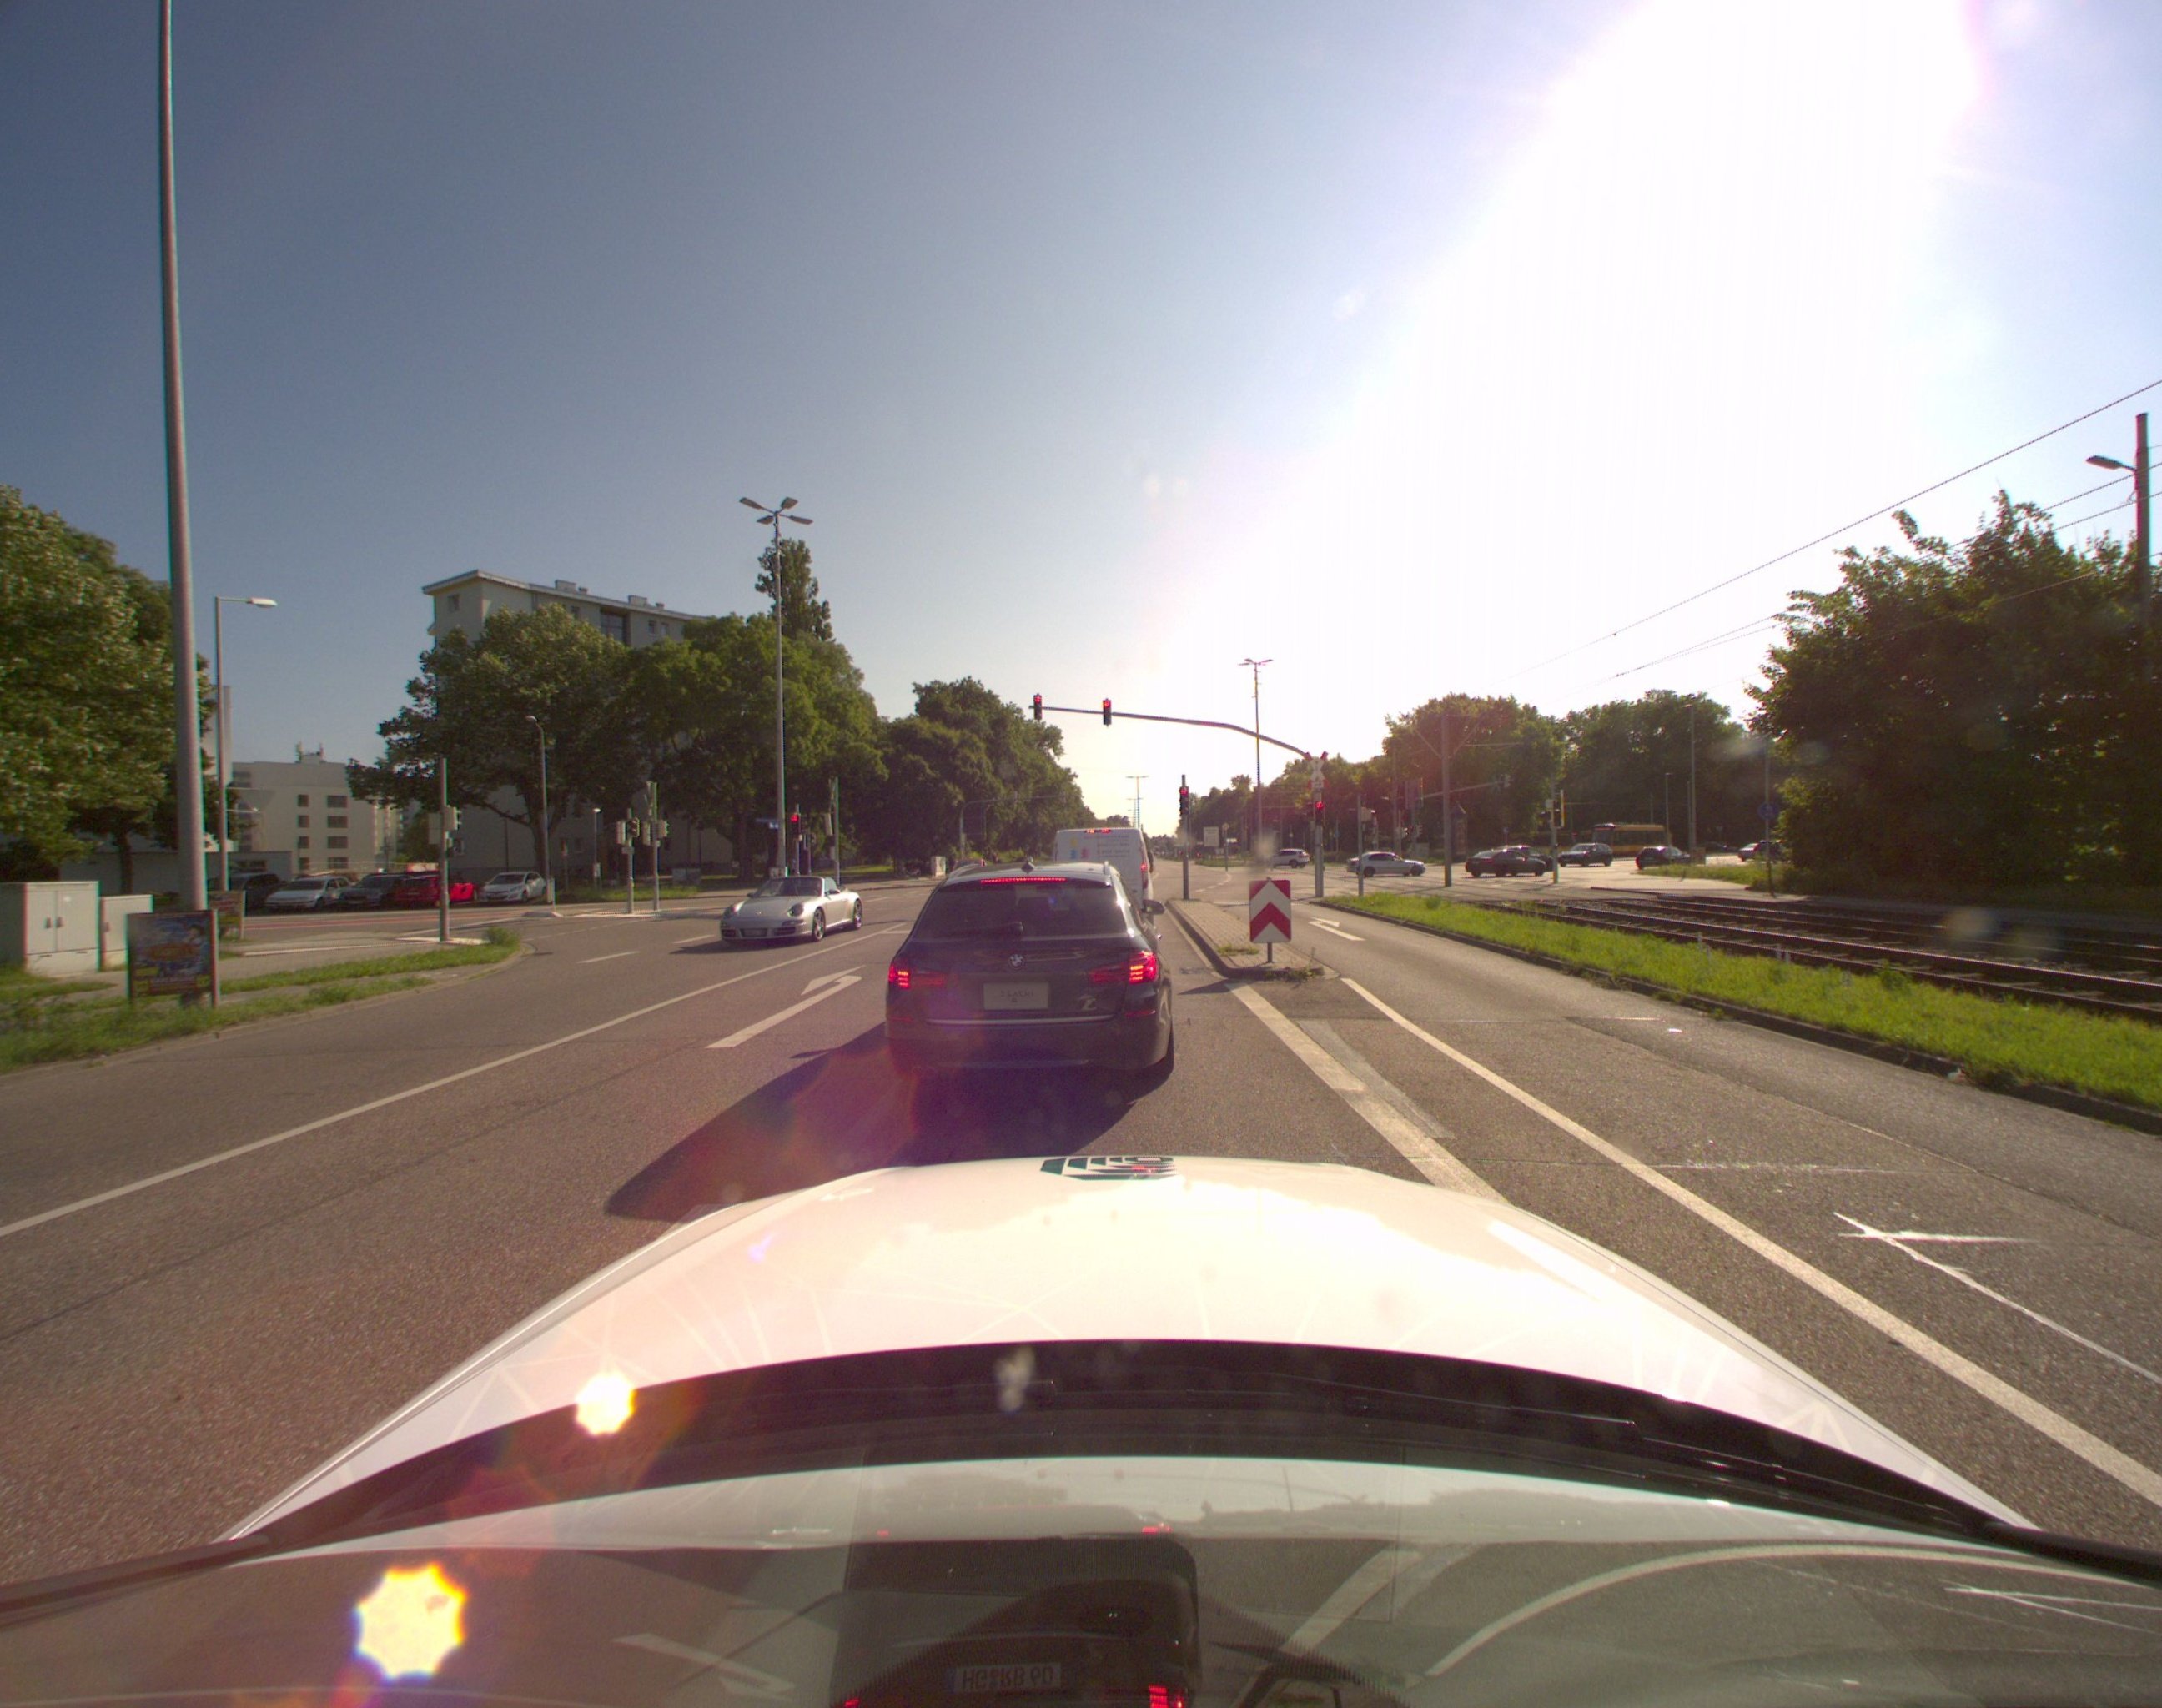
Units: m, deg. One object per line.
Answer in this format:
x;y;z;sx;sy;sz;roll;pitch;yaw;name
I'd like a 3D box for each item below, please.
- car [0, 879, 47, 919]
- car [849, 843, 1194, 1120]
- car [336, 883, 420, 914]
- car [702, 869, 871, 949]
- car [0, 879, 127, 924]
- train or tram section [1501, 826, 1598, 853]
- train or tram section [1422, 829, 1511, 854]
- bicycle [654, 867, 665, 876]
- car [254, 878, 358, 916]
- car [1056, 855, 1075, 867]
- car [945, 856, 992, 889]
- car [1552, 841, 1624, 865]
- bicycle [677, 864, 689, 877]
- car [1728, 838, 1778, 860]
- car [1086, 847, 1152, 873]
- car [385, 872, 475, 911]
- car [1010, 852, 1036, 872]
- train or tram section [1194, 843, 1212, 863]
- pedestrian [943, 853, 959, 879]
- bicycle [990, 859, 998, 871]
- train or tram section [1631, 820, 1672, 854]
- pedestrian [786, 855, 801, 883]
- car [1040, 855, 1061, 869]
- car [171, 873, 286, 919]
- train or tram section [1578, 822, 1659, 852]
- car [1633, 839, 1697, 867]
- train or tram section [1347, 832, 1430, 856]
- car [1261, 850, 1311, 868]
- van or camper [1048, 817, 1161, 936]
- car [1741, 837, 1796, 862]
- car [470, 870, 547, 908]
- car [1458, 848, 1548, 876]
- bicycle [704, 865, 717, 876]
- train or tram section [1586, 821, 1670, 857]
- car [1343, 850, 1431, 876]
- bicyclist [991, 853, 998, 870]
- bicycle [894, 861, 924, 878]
-46.083;2.012;33.670;1.785;1.476;4.686;-1;3;-19;car
-0.264;0.711;6.568;1.896;1.506;4.067;-1;0;2;car
-32.778;2.047;38.090;1.463;1.193;3.767;-1;0;-15;car
-5.838;1.033;16.770;1.773;1.310;4.288;-1;0;2;car
-44.369;2.006;35.223;1.785;1.477;4.785;-1;3;-19;car
67.335;-1.977;117.562;3.064;3.579;12.108;-1;0;-31;train or tram section
60.000;-1.840;126.950;12.072;3.579;3.073;-1;0;38;train or tram section
-34.312;1.428;66.239;0.587;0.708;2.215;-1;0;-33;bicycle
-35.418;1.927;37.356;1.783;1.521;3.977;-1;0;-16;car
-2.038;0.952;106.814;1.693;1.465;4.379;-3;-2;8;car
-5.514;0.881;40.240;1.688;1.498;3.677;-2;0;1;car
35.952;-0.071;57.750;4.871;1.562;2.027;-1;0;-26;car
-32.791;1.376;67.082;0.615;1.066;1.896;0;-2;-34;bicycle
53.195;-0.407;64.424;4.654;1.665;1.978;-1;0;-37;car
2.609;0.427;56.406;4.564;1.722;1.659;-1;0;44;car
-30.857;1.739;38.736;1.782;1.415;3.982;-1;4;-14;car
-4.700;0.641;66.828;1.626;1.560;3.679;-3;0;3;car
23.007;-0.165;153.789;2.782;3.618;12.976;0;0;6;train or tram section
-8.753;0.811;54.909;0.811;1.752;0.933;-1;0;7;pedestrian
-7.986;0.973;75.043;0.618;1.040;2.068;-1;0;-4;bicycle
66.101;-1.914;94.575;3.015;3.579;12.308;-1;0;31;train or tram section
-18.409;0.959;52.183;0.619;1.713;0.707;-1;0;14;pedestrian
-3.315;0.859;88.102;1.771;1.414;4.249;-1;0;4;car
-38.063;1.821;36.522;1.783;1.811;3.977;-1;0;-16;car
69.658;-2.064;106.055;3.031;3.579;12.241;-1;0;3;train or tram section
37.464;-0.073;52.214;4.654;1.665;1.978;-1;0;-37;car
50.390;-1.668;133.844;12.279;3.579;3.073;-1;0;33;train or tram section
17.911;0.410;71.144;3.849;1.486;1.810;-1;0;39;car
0.564;0.393;16.912;1.985;2.096;4.602;-1;0;3;van or camper
49.461;-0.317;58.552;4.654;1.665;1.978;-1;0;-37;car
-27.896;1.683;39.852;1.783;1.439;3.980;-1;3;-15;car
22.499;0.390;43.459;4.415;1.354;1.984;-1;0;-25;car
-31.032;1.360;68.232;0.673;0.919;2.382;-1;0;-33;bicycle
57.914;-1.565;86.003;11.898;3.579;3.022;-1;0;-34;train or tram section
17.690;0.507;47.229;4.376;1.354;2.002;-1;0;3;car
-7.990;0.727;75.058;0.606;1.560;0.602;-1;0;-6;bicyclist
-11.639;1.047;55.084;1.902;1.119;0.632;-1;0;1;bicycle
